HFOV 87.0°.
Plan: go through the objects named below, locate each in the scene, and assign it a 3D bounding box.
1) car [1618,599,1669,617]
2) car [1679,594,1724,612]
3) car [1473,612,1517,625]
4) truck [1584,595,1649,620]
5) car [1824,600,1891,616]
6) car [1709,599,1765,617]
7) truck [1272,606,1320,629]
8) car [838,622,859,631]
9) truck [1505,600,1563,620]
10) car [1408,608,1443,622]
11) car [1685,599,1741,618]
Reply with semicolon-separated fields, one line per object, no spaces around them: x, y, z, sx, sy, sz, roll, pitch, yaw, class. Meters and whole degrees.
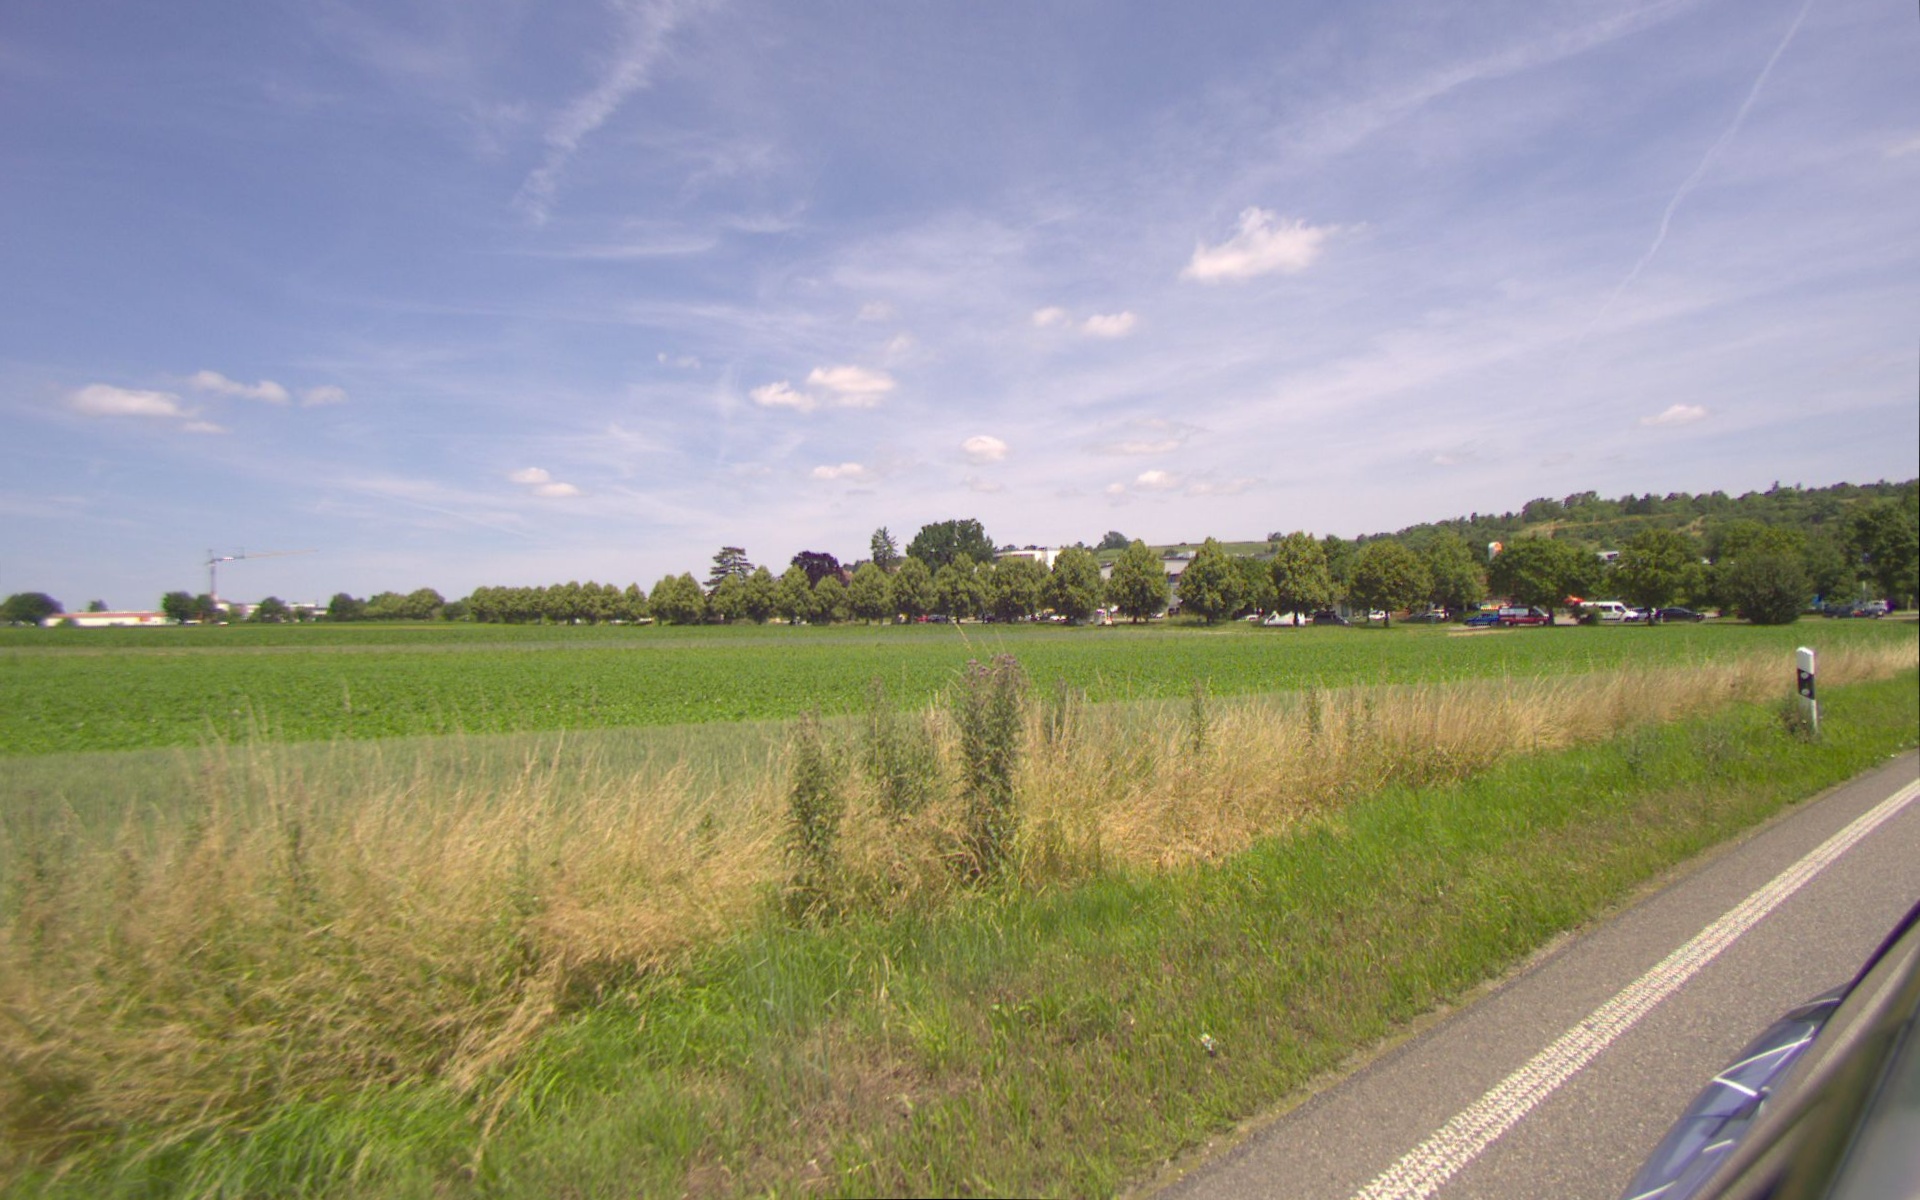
74.880;0.878;110.908;4.502;1.713;1.841;-3;0;39;car
85.503;0.317;116.794;3.970;1.847;1.801;-3;-1;33;car
64.017;2.204;121.128;1.752;1.579;4.382;1;-2;-39;car
70.970;0.788;109.438;5.611;2.396;2.024;-3;-1;41;truck
84.598;0.765;95.411;1.771;1.289;4.549;-2;-1;-43;car
82.015;0.881;106.879;4.511;1.713;1.838;-3;0;44;car
46.427;2.438;139.993;5.918;2.771;2.043;-3;1;42;truck
-22.314;5.284;202.129;3.986;1.670;1.969;-3;-1;44;car
64.886;1.197;114.501;5.450;2.001;1.774;-3;-1;41;truck
65.360;2.149;142.140;1.792;1.847;3.991;-2;-1;-42;car
77.268;0.841;103.891;1.967;1.719;4.280;-2;-1;-43;car
